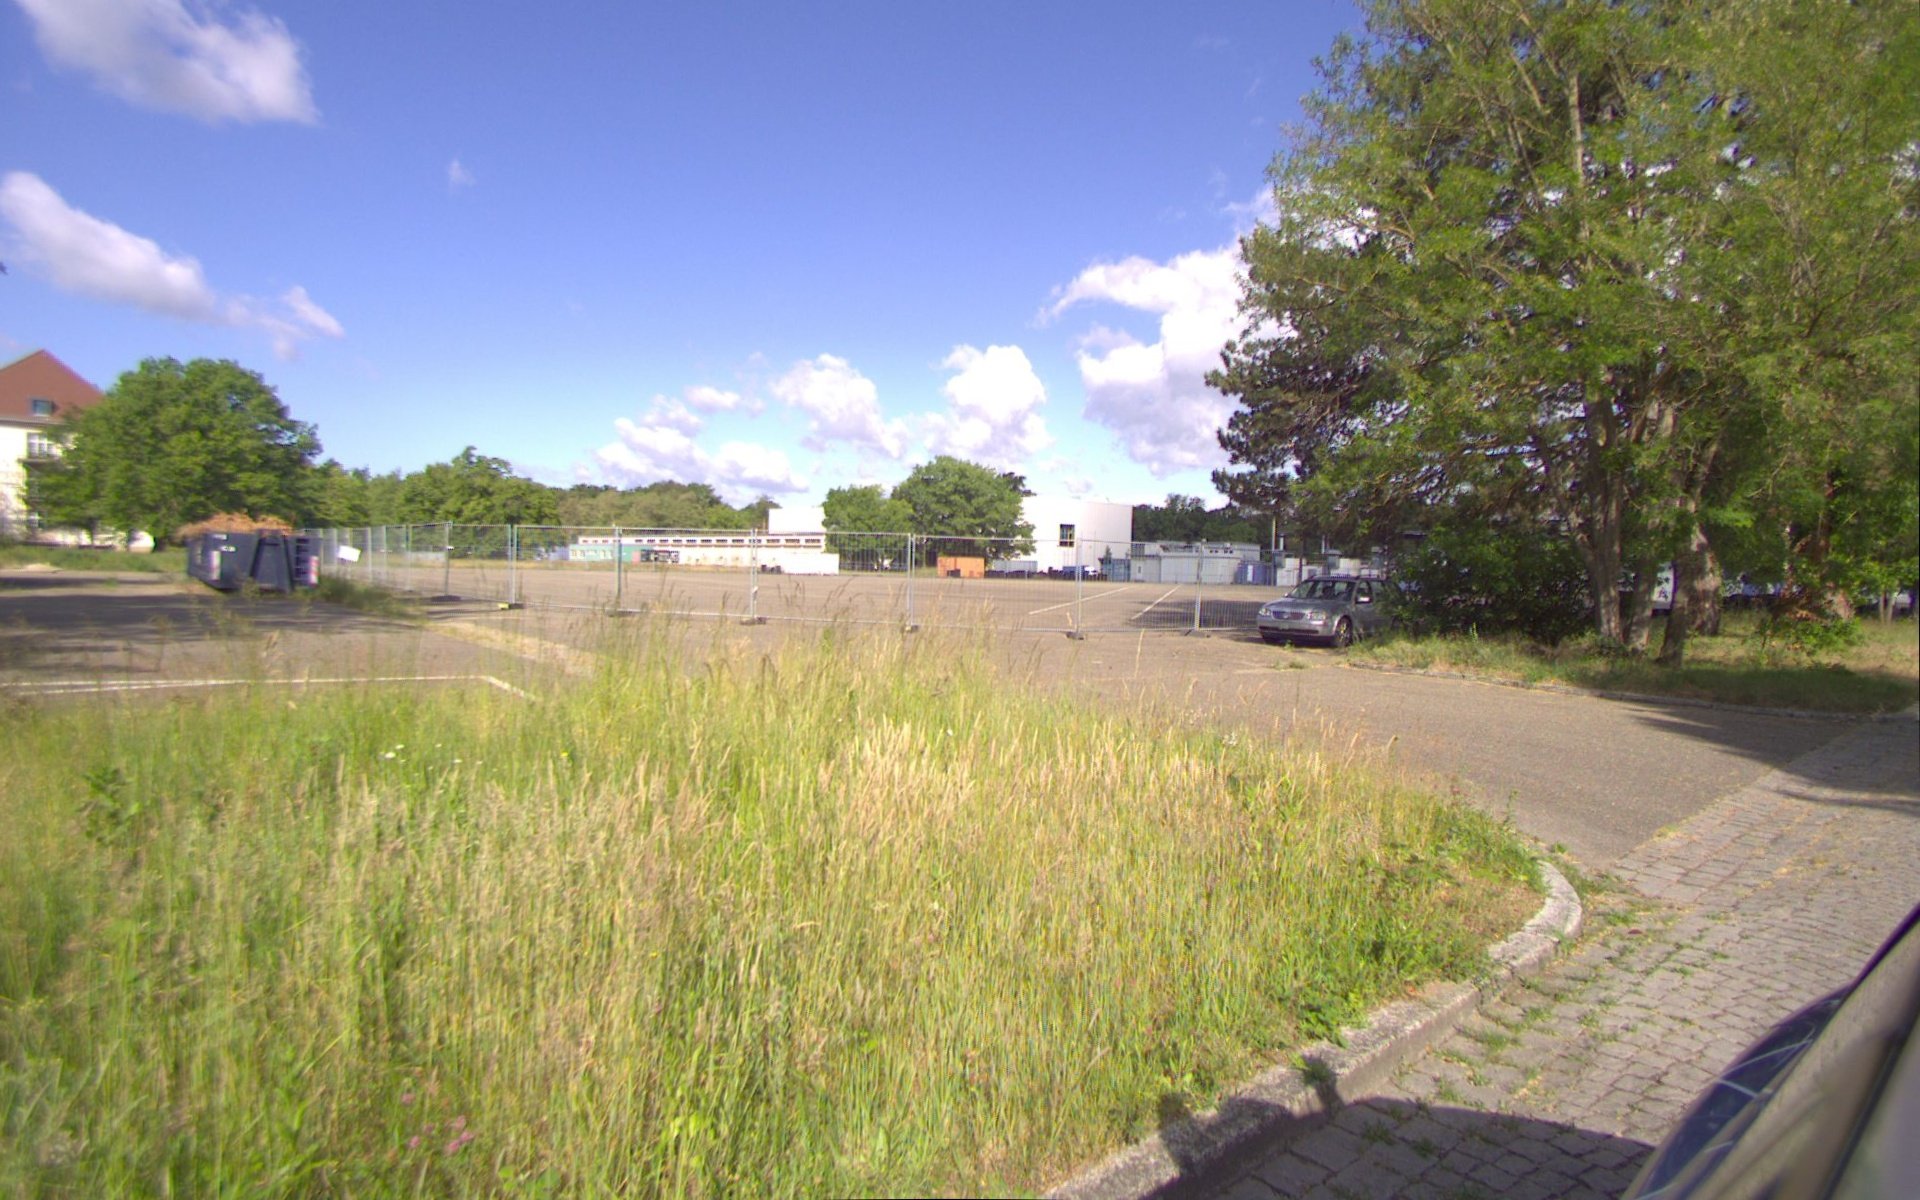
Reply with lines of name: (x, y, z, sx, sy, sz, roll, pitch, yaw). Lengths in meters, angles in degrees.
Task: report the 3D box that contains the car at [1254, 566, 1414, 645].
car: (7.893, 0.072, 21.202, 3.921, 1.461, 1.576, 0, 3, -44)
